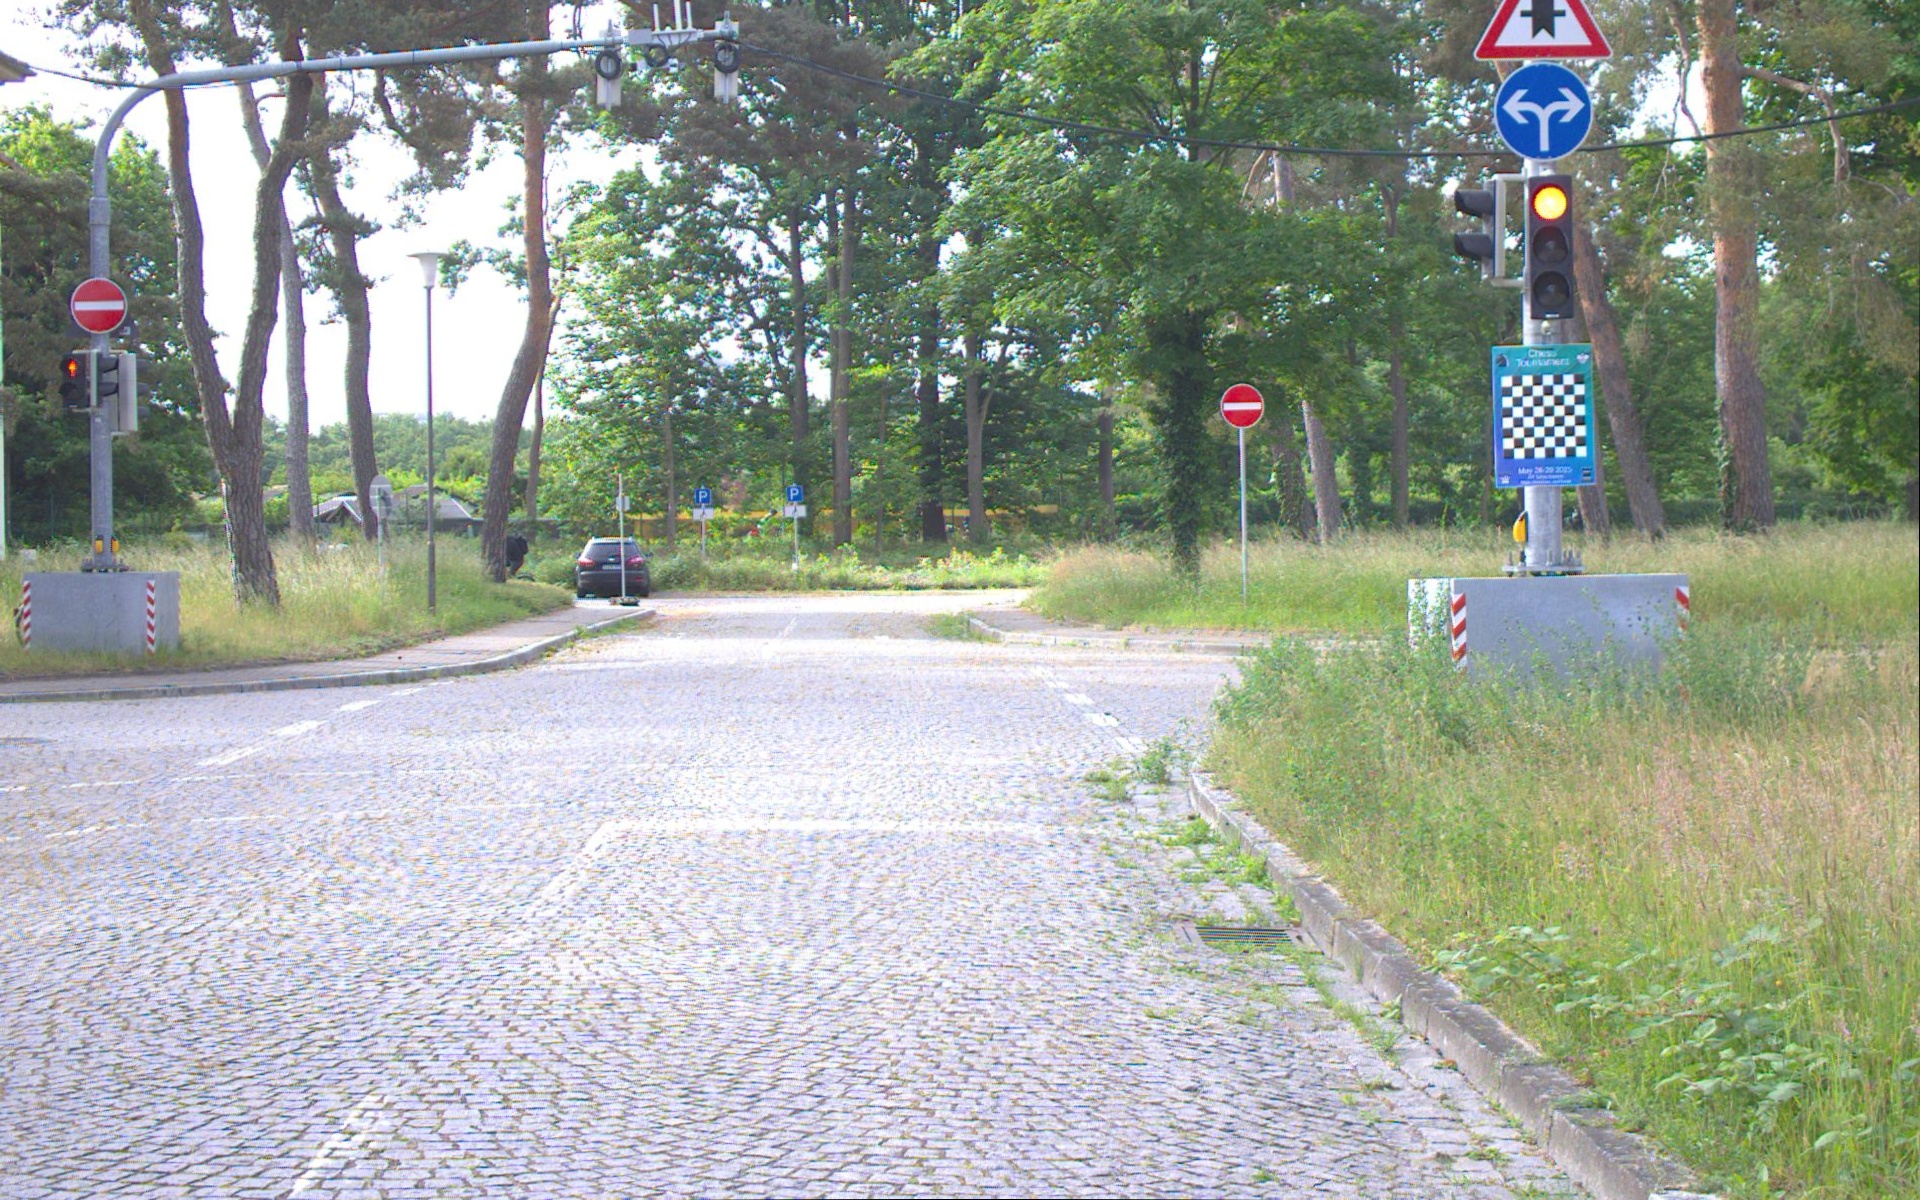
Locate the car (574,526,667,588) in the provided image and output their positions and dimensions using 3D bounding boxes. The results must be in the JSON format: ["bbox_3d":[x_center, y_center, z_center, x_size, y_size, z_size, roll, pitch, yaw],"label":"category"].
[{"bbox_3d":[-8.695,-1.129,88.330,1.993,1.503,4.000,1,1,-1],"label":"car"}]

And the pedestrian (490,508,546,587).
[{"bbox_3d":[-10.653,-1.260,82.848,1.211,1.884,0.747,-1,1,1],"label":"pedestrian"}]
